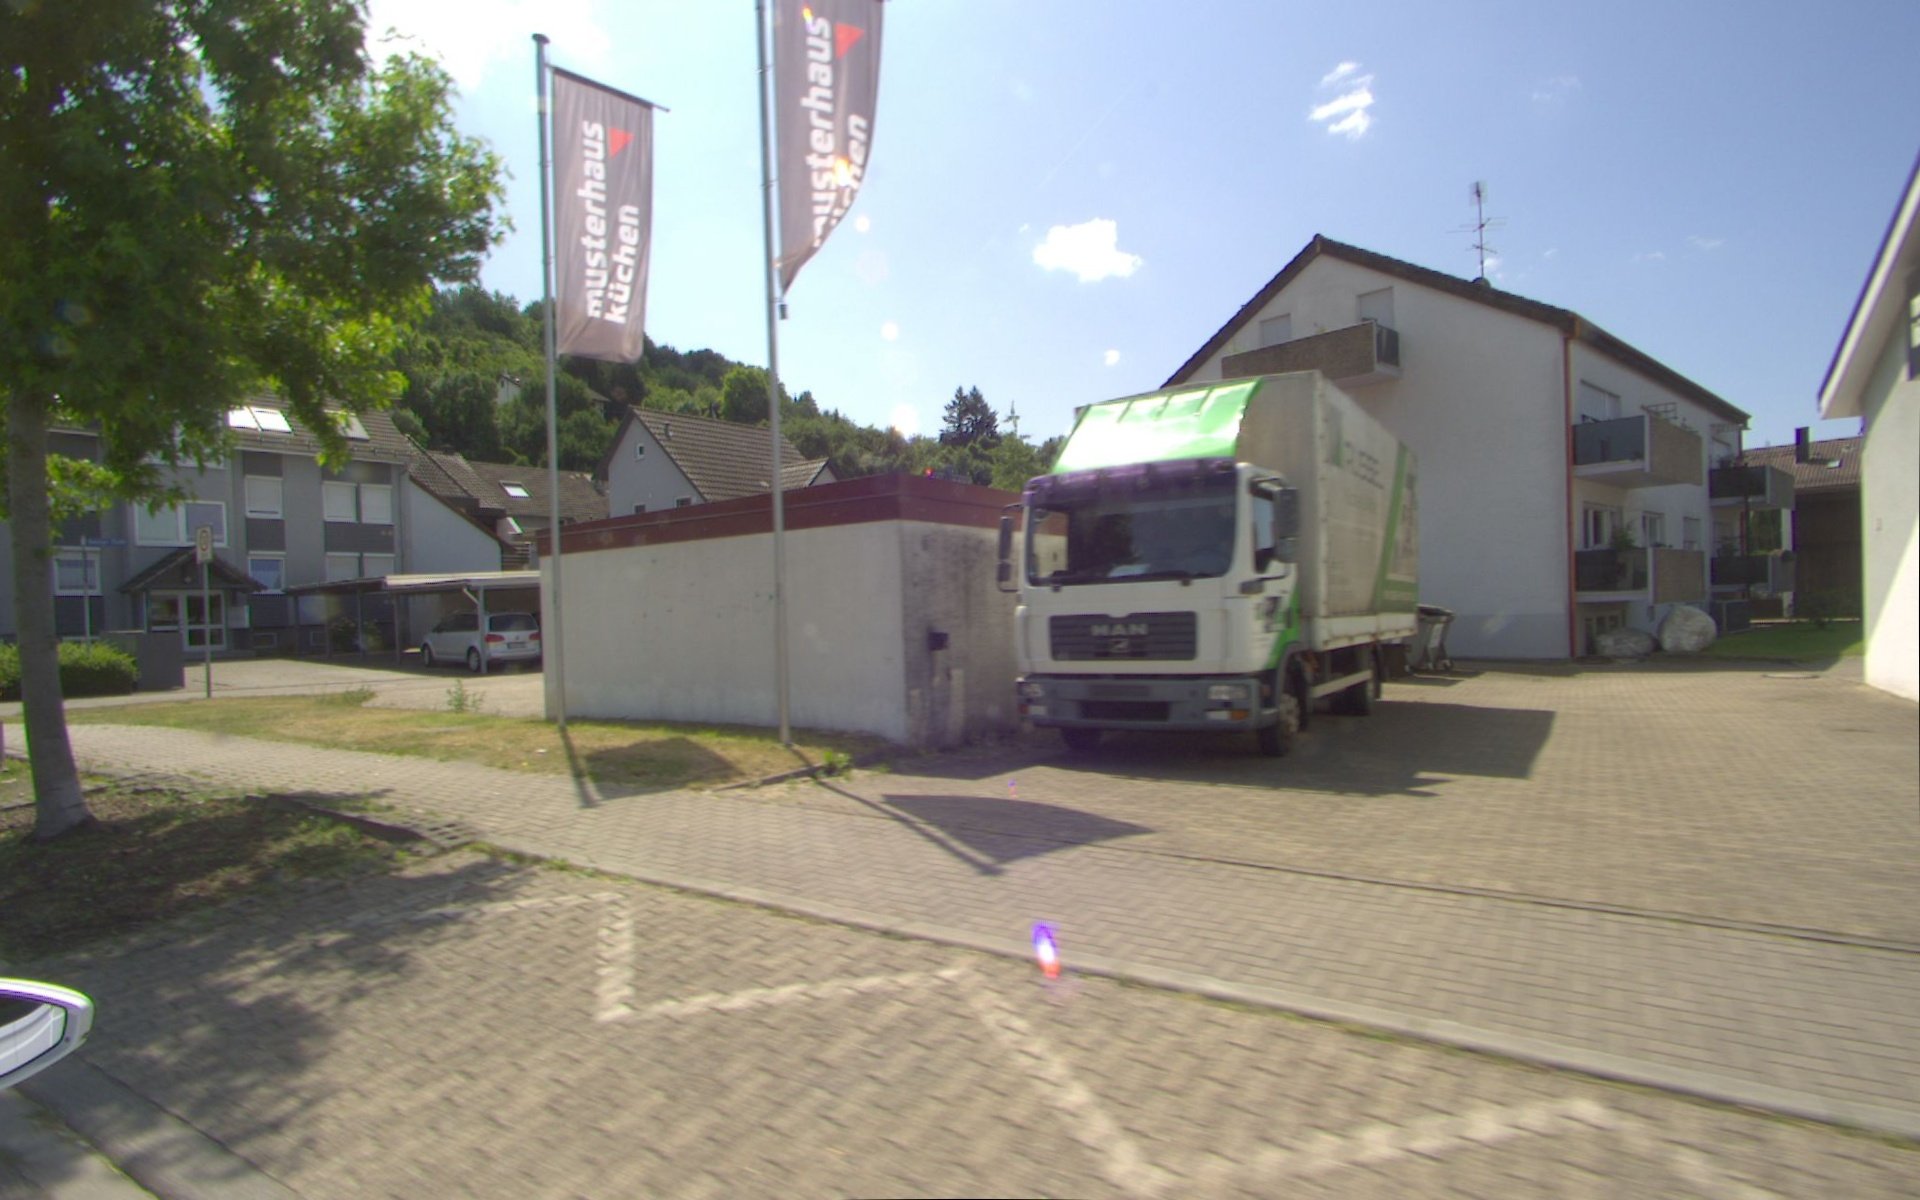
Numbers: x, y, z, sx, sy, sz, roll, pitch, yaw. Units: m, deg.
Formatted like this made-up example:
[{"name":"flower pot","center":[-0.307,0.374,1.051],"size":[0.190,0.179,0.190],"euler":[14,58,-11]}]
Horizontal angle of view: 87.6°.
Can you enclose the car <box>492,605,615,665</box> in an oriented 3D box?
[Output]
[{"name":"car","center":[-12.502,1.021,30.732],"size":[3.801,1.609,1.731],"euler":[1,2,36]}]

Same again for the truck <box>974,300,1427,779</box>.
[{"name":"truck","center":[3.440,-0.384,11.744],"size":[2.640,3.618,8.154],"euler":[-2,-1,32]}]

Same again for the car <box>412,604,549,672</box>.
[{"name":"car","center":[-13.647,1.015,28.423],"size":[4.159,1.671,1.730],"euler":[1,2,36]}]
